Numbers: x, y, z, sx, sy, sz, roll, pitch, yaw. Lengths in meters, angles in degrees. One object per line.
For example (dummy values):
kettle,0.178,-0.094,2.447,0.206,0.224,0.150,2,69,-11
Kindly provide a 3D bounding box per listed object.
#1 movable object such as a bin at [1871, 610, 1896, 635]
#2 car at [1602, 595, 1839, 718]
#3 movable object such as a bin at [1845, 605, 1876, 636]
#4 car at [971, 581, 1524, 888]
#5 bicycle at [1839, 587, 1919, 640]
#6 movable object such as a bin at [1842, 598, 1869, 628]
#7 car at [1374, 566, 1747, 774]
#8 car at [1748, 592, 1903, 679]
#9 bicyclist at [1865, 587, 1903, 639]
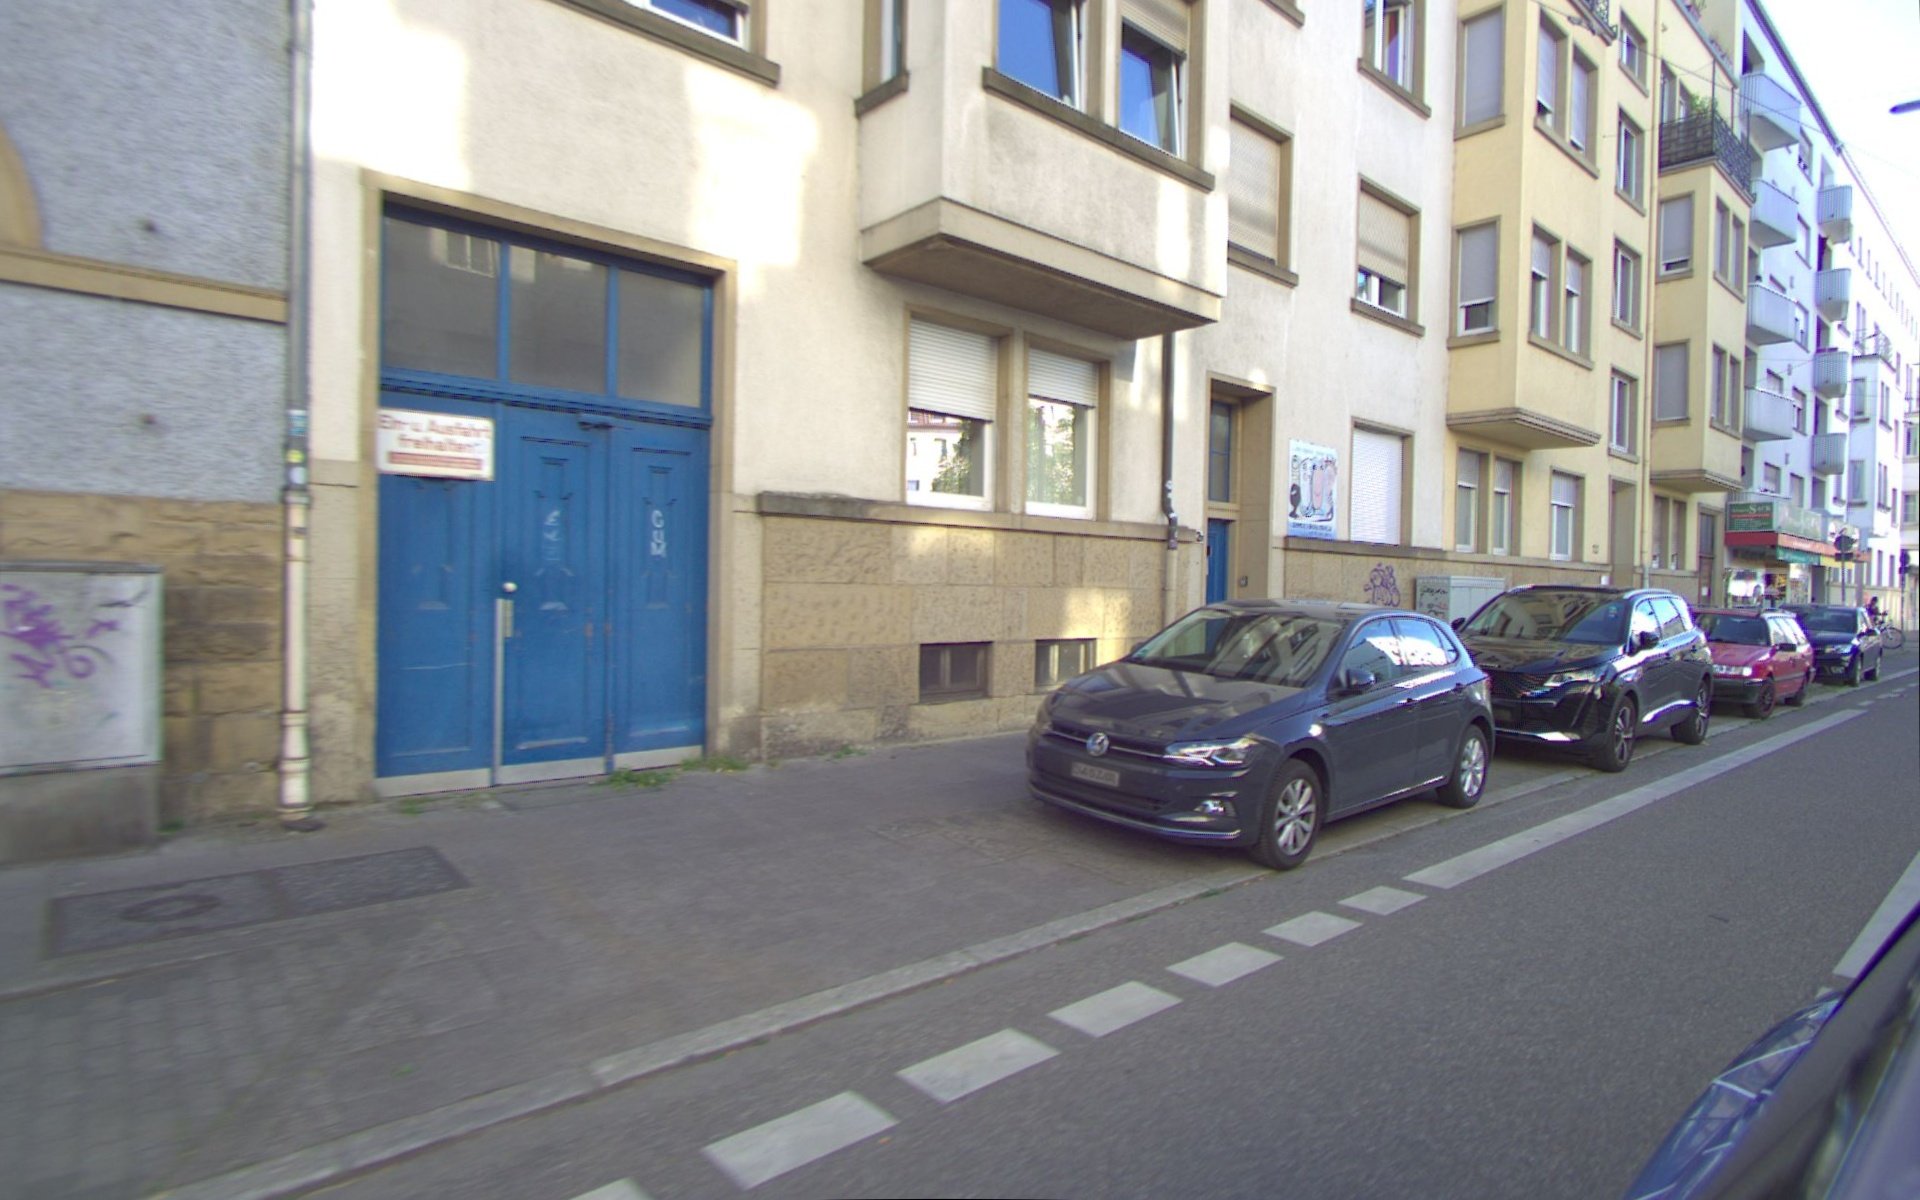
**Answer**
movable object such as a bin,35.374,0.854,38.778,0.560,0.928,0.656,0,0,-41
car,11.179,0.689,14.750,4.628,1.474,1.862,0,1,-41
movable object such as a bin,32.657,0.722,36.709,0.607,1.086,0.771,0,0,-41
car,2.119,0.622,6.822,3.963,1.460,1.740,0,1,-42
bicycle,31.008,0.442,34.120,0.761,1.732,1.936,0,0,-37
movable object such as a bin,32.980,0.486,37.281,0.560,1.086,0.677,0,0,-41
car,6.261,0.539,10.336,4.480,1.686,1.863,0,1,-40
car,17.295,0.626,20.170,3.931,1.509,1.722,0,2,-41
bicyclist,31.118,0.421,34.086,0.500,1.724,0.845,0,0,-37
